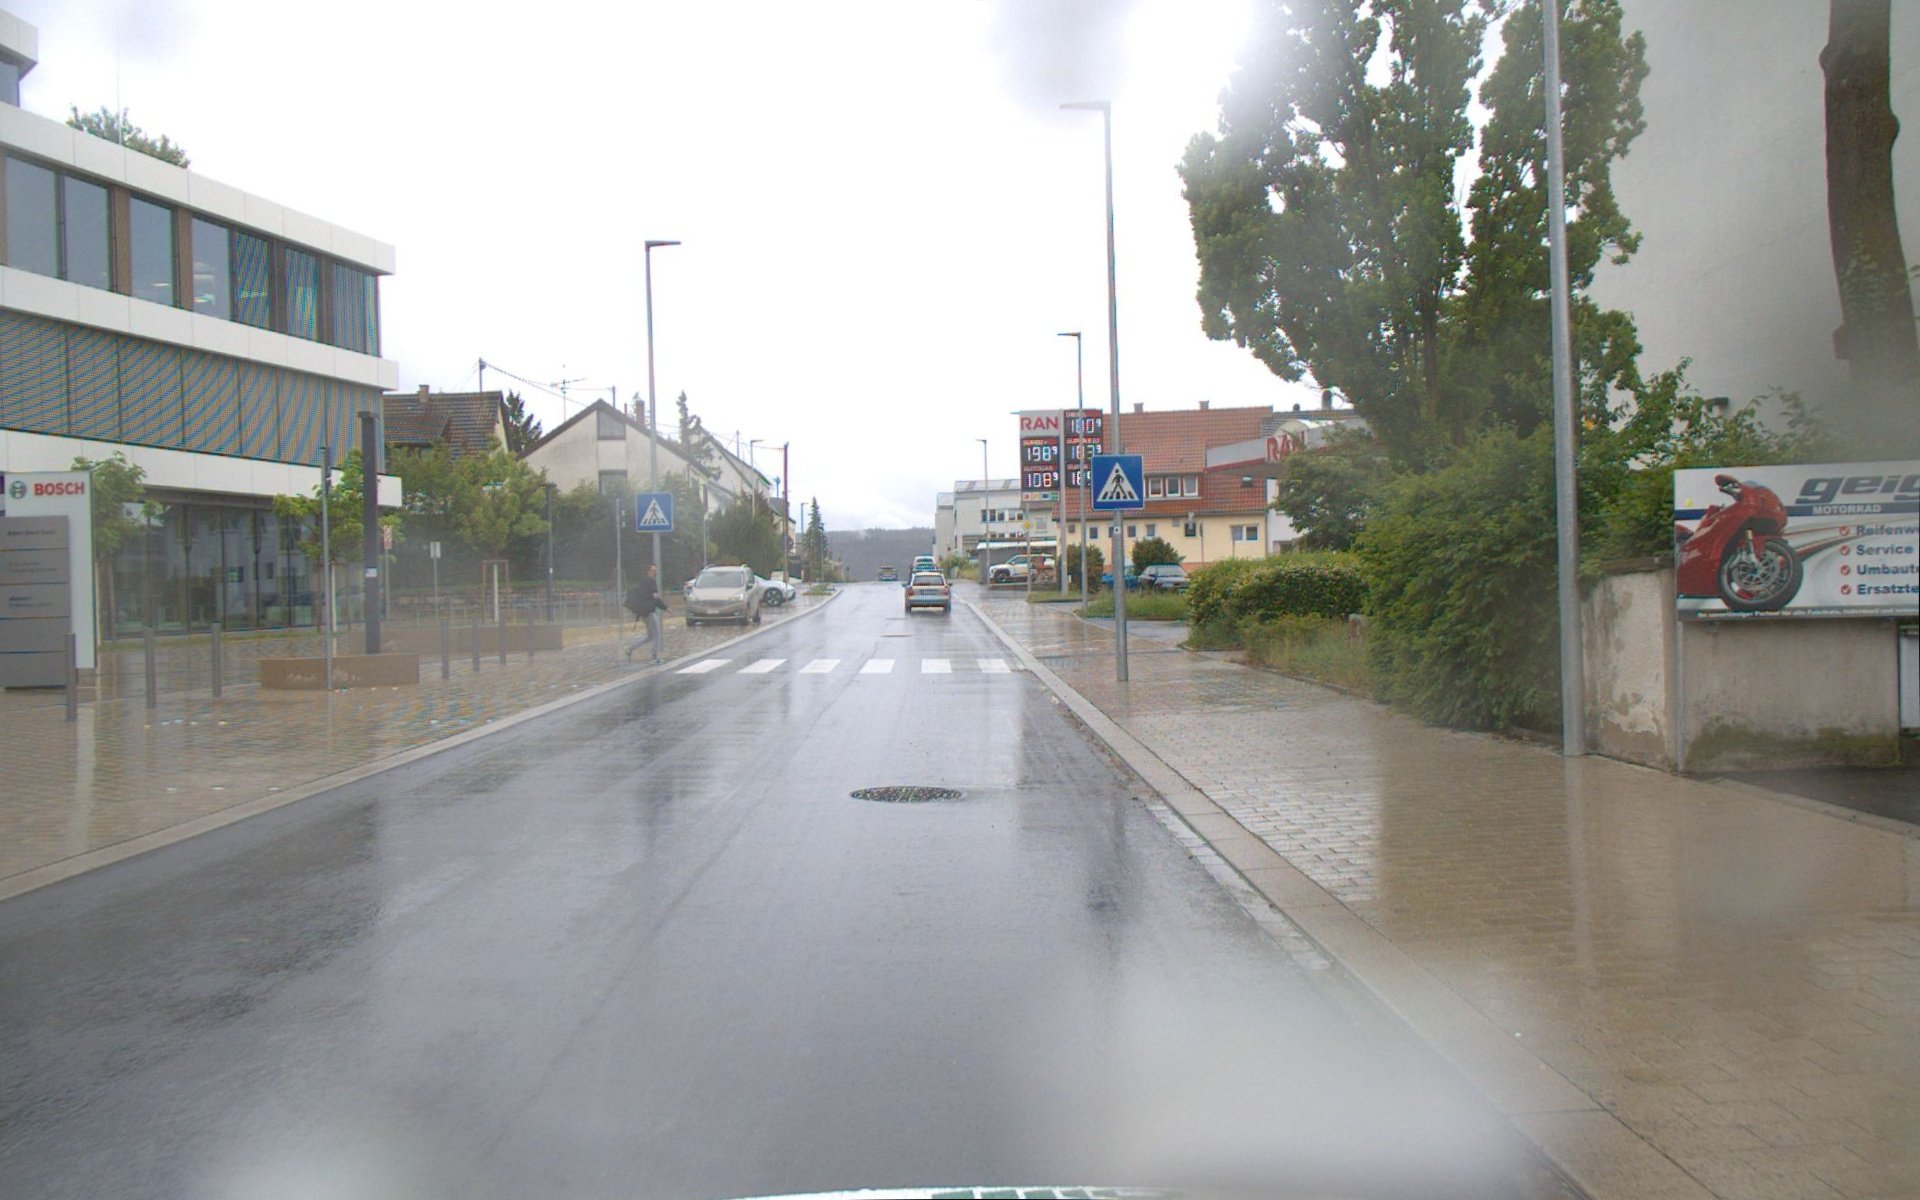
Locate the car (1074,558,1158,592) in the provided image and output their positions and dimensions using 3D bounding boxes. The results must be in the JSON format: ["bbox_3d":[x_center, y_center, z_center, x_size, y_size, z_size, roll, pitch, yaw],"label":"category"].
[{"bbox_3d":[7.908,-1.269,83.785,3.902,1.519,1.859,2,-1,15],"label":"car"}]

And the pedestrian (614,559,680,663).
[{"bbox_3d":[-5.373,0.178,28.423,0.993,1.754,0.772,-1,1,-4],"label":"pedestrian"}]

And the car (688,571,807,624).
[{"bbox_3d":[-9.016,-0.093,70.381,4.654,2.049,2.000,2,-1,2],"label":"car"}]

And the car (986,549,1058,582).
[{"bbox_3d":[3.626,-2.033,97.769,4.031,1.736,1.787,2,-1,-4],"label":"car"}]

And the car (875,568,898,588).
[{"bbox_3d":[-7.220,-2.158,161.968,2.110,1.736,3.999,2,-1,-1],"label":"car"}]

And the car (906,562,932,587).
[{"bbox_3d":[-3.135,-1.930,126.589,1.953,1.736,3.999,2,-1,-1],"label":"car"}]

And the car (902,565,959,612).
[{"bbox_3d":[-1.123,-0.387,61.275,1.910,1.583,3.997,2,-1,-4],"label":"car"}]

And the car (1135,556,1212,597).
[{"bbox_3d":[8.983,-0.972,69.948,1.959,1.579,3.987,2,-1,-13],"label":"car"}]

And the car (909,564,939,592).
[{"bbox_3d":[-2.467,-1.472,113.415,1.953,1.736,3.999,2,-1,-1],"label":"car"}]

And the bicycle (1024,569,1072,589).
[{"bbox_3d":[4.842,-1.145,91.183,0.662,1.085,3.589,3,-1,-32],"label":"bicycle"}]

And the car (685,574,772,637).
[{"bbox_3d":[-6.655,0.123,47.925,1.953,1.657,4.152,-2,1,-1],"label":"car"}]
